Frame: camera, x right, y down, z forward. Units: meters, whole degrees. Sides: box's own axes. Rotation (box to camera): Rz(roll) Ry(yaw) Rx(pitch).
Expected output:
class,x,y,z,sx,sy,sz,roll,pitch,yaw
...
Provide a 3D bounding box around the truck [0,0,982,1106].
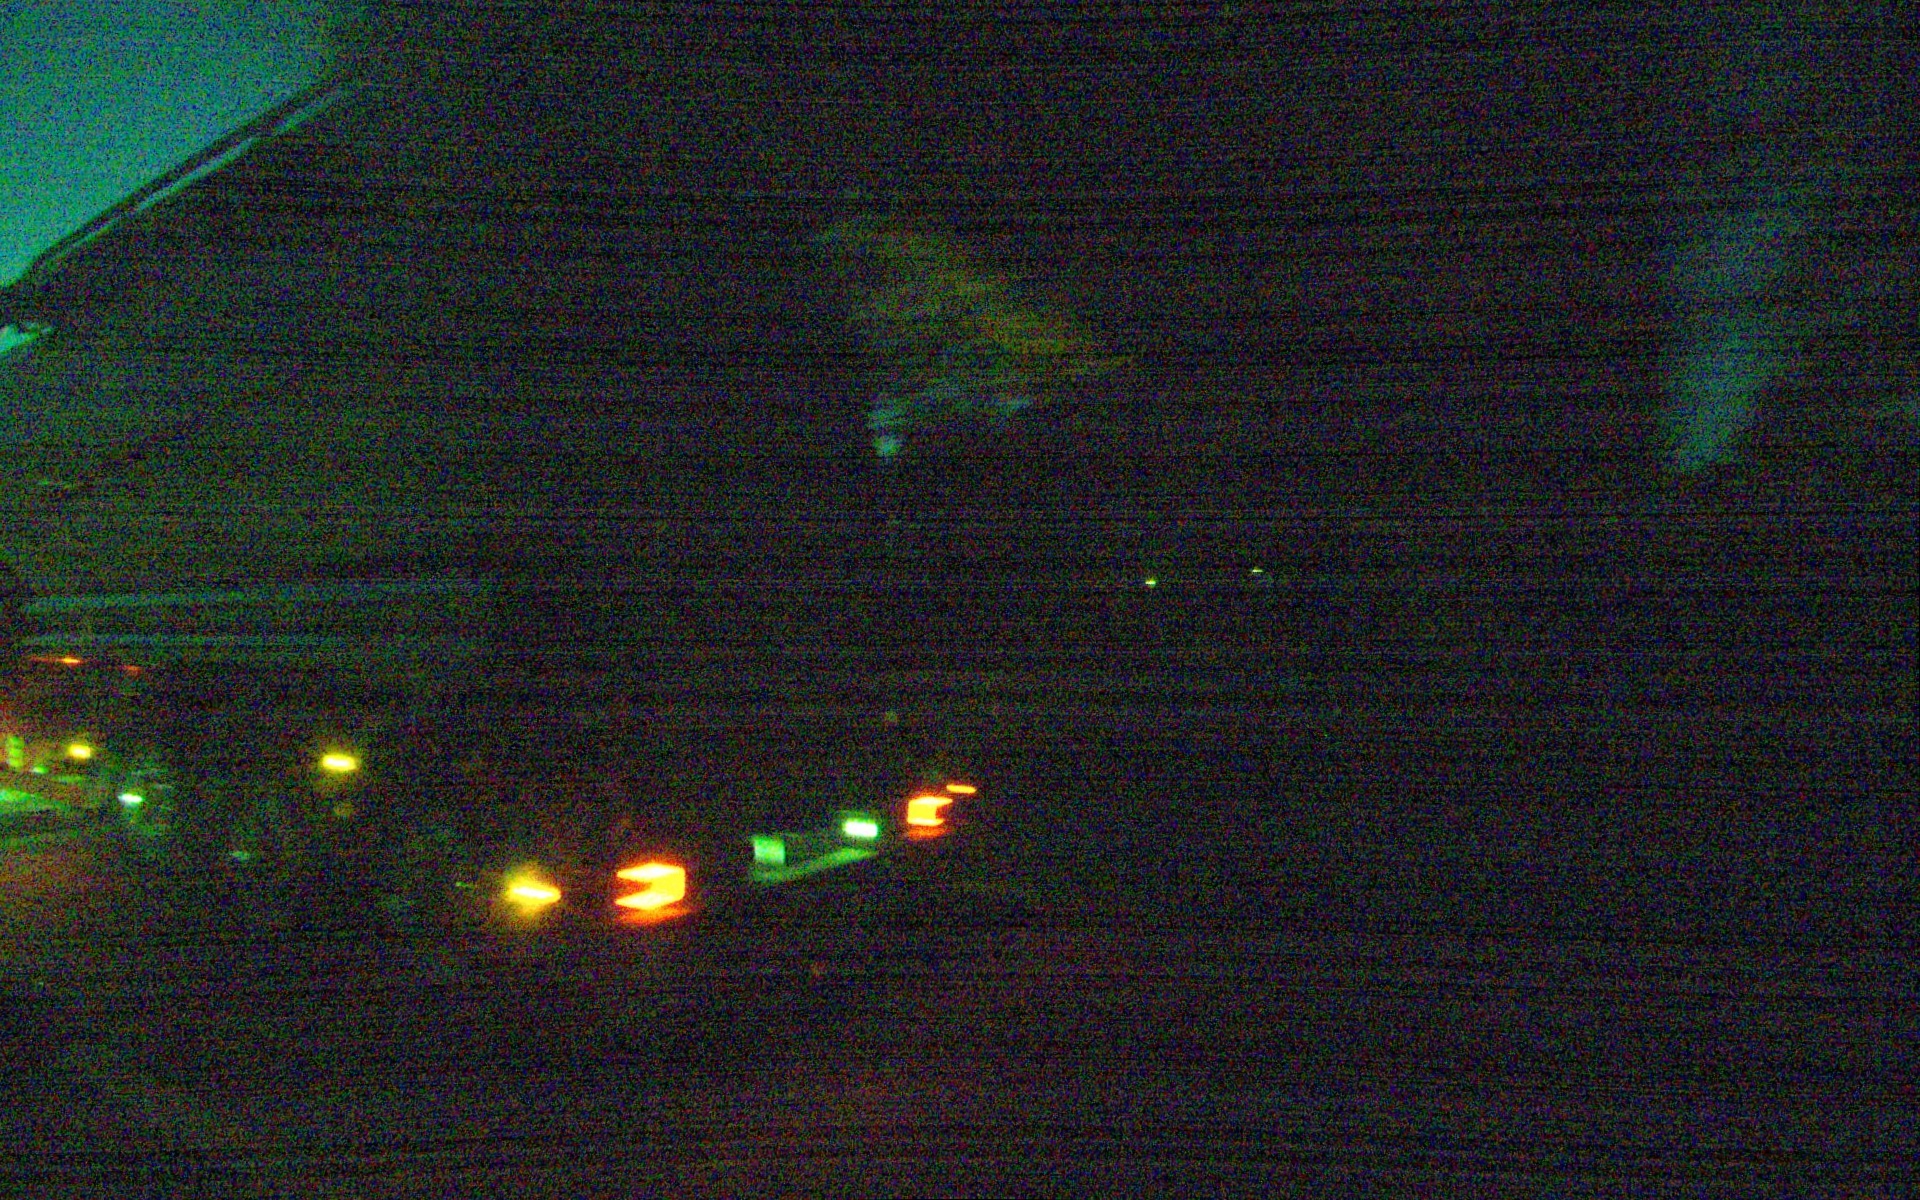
class,x,y,z,sx,sy,sz,roll,pitch,yaw
truck,-6.002,-0.422,7.754,12.958,4.159,2.682,-1,-1,34
